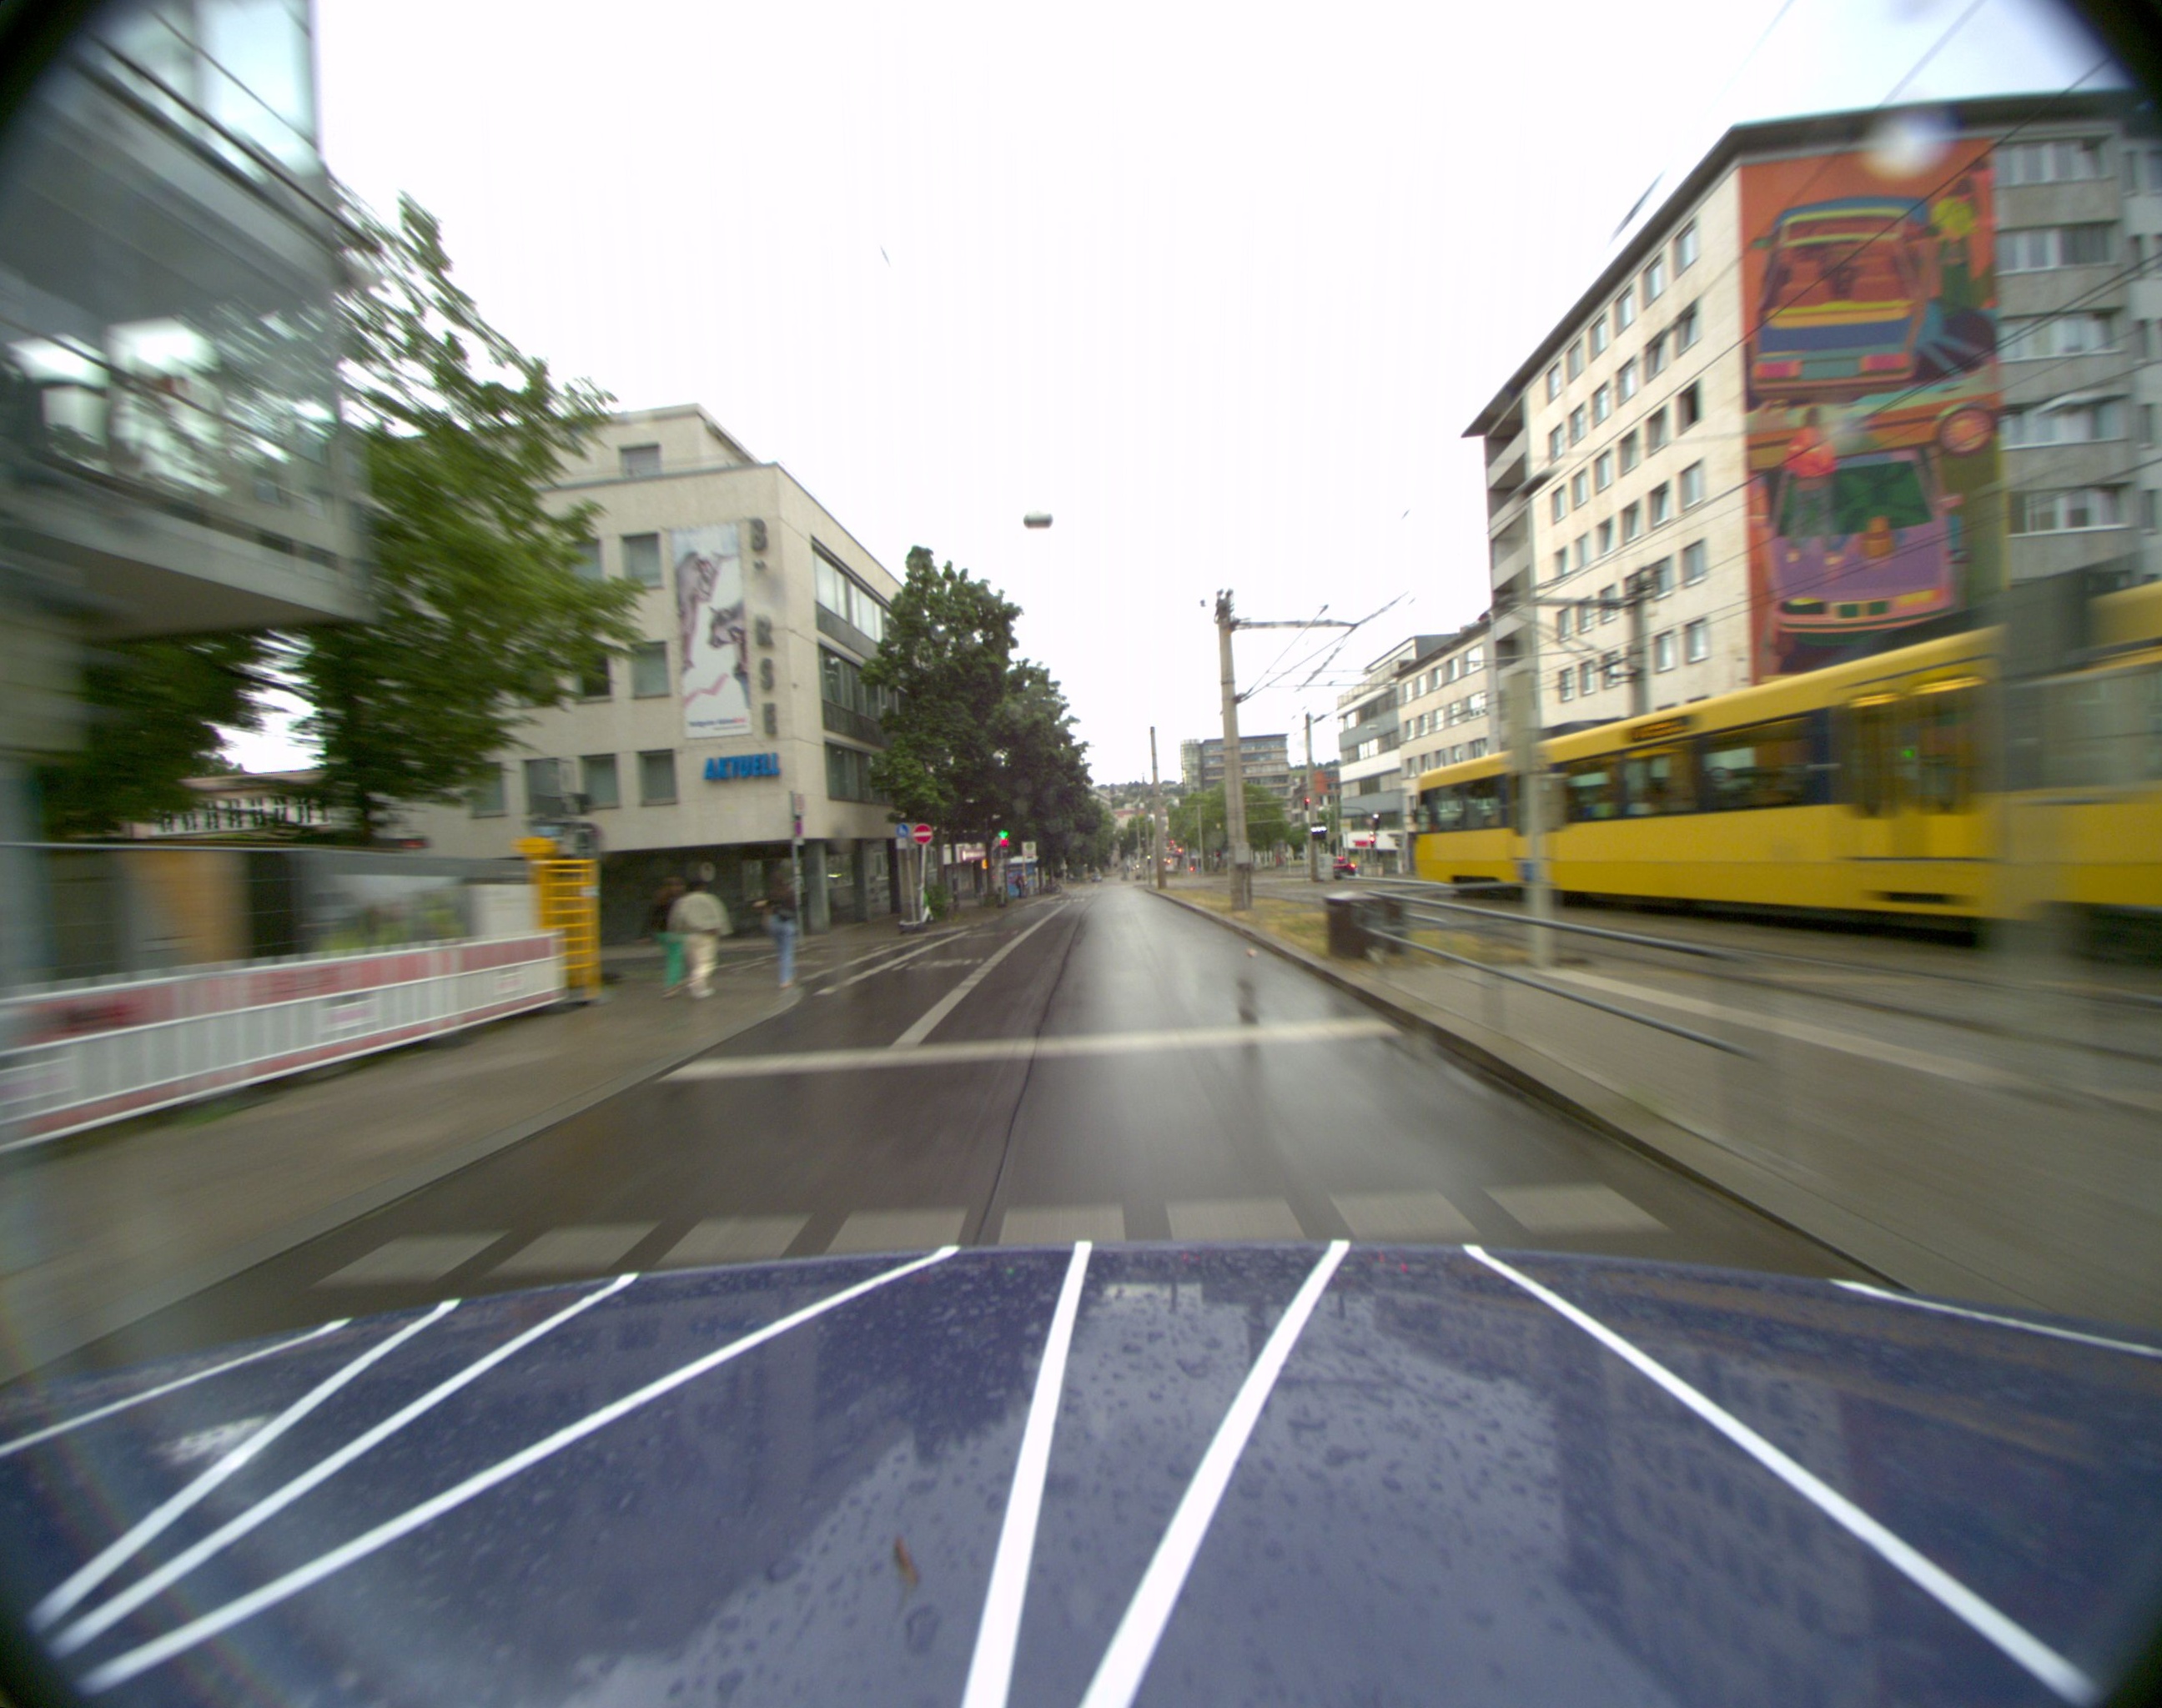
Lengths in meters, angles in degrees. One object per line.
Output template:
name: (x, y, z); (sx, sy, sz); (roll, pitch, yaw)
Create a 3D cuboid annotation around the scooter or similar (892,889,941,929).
scooter or similar: (-5.222, 1.730, 24.132); (1.386, 1.172, 0.511); (-3, 0, -28)

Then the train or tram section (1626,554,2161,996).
train or tram section: (10.435, -0.703, 7.771); (2.785, 3.669, 9.512); (-4, -1, 1)

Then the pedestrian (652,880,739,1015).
pedestrian: (-5.370, 1.264, 10.639); (0.720, 1.751, 0.958); (-2, 0, -6)

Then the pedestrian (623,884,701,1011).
pedestrian: (-6.117, 1.336, 11.136); (0.599, 1.751, 0.845); (-2, 0, 0)

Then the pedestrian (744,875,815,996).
pedestrian: (-4.643, 1.225, 11.744); (0.720, 1.751, 0.958); (-2, 0, -6)

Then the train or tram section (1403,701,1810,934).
train or tram section: (10.566, -0.528, 17.023); (2.785, 3.669, 8.977); (-4, -1, 1)

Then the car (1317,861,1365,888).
car: (17.070, 1.380, 50.044); (1.824, 1.623, 3.869); (-3, -2, 1)

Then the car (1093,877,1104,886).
car: (2.996, 4.613, 126.845); (1.620, 1.455, 3.590); (-4, -2, 2)

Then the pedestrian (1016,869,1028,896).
pedestrian: (-3.599, 1.718, 46.070); (0.560, 1.614, 0.485); (-4, -2, 3)
